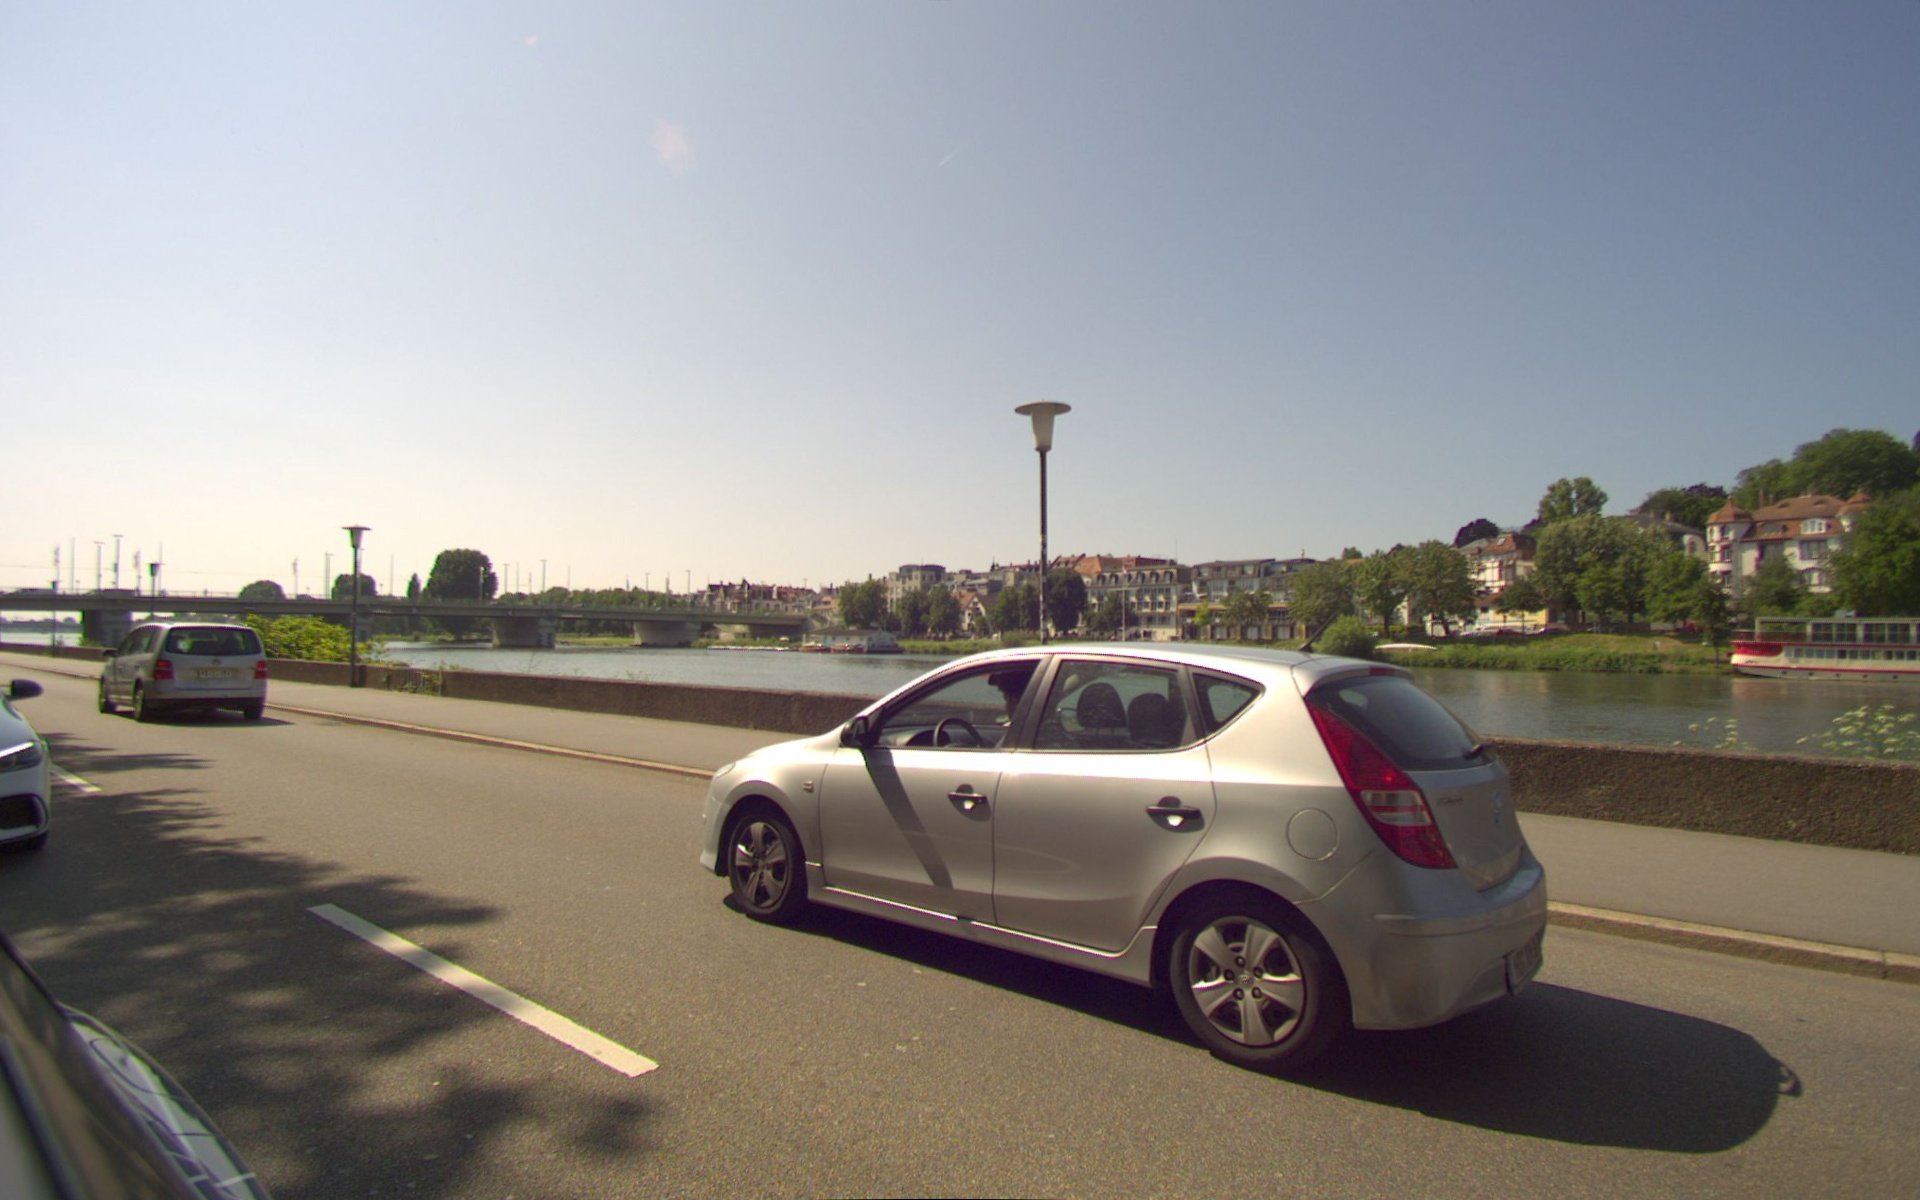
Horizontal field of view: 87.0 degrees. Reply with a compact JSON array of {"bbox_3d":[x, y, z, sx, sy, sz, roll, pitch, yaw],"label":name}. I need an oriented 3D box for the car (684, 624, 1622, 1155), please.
[{"bbox_3d":[0.602,0.887,4.795,4.043,1.453,1.713,-2,-4,41],"label":"car"}]

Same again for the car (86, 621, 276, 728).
[{"bbox_3d":[-13.716,1.254,17.740,4.173,1.663,1.714,-2,-4,40],"label":"car"}]

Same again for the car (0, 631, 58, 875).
[{"bbox_3d":[-7.809,0.951,6.966,4.549,1.430,1.807,-2,-2,41],"label":"car"}]
